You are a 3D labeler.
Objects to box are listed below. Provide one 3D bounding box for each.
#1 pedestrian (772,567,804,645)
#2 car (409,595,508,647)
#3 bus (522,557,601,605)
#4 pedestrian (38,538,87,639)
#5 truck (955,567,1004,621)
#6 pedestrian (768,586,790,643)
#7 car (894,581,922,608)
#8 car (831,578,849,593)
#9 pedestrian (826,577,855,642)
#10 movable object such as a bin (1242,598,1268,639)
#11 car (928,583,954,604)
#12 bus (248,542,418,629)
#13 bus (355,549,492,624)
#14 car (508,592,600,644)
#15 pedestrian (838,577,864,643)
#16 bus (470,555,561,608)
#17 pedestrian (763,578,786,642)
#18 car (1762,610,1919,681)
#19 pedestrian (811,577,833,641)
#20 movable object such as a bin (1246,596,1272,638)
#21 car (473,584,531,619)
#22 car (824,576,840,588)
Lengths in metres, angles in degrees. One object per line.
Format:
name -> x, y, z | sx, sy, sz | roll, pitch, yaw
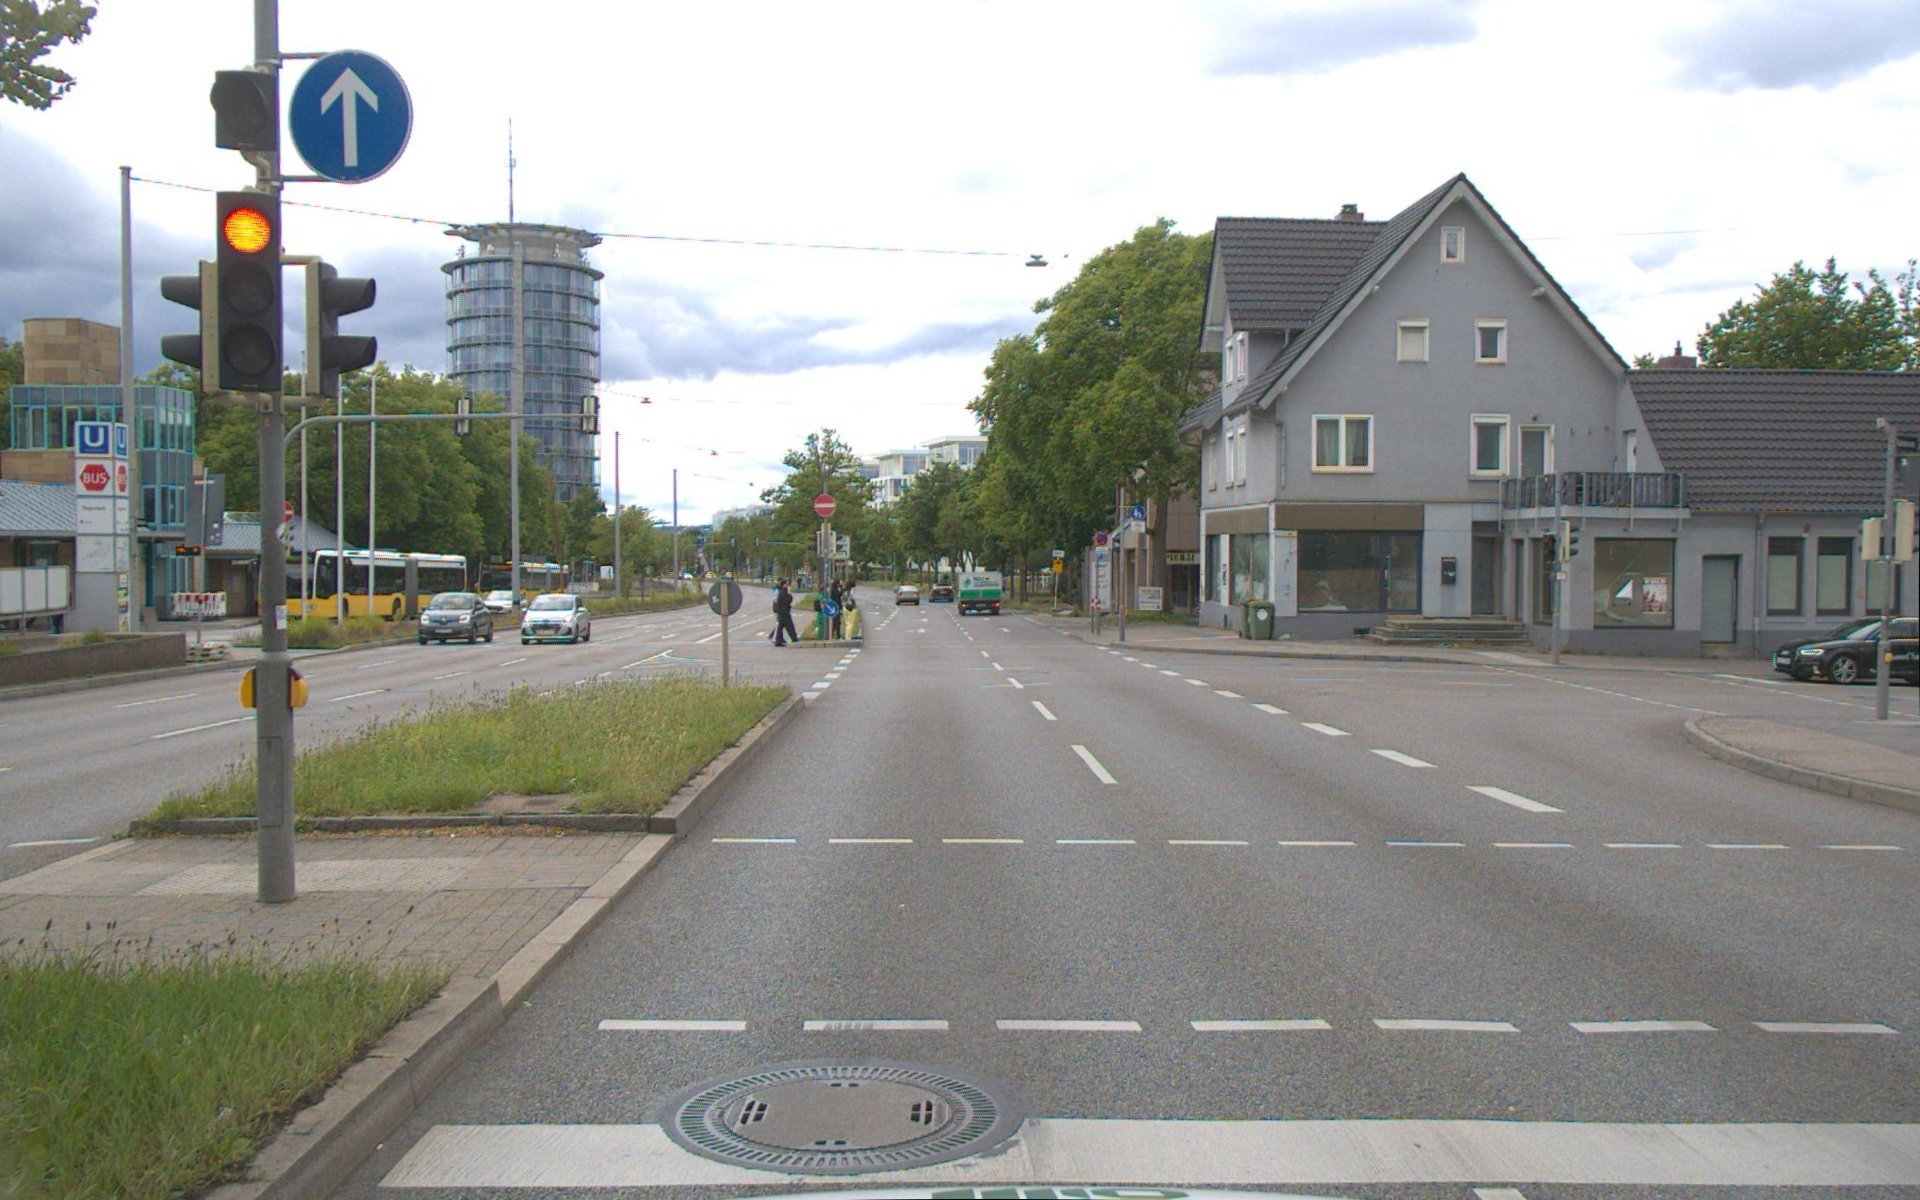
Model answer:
pedestrian -> -4.549, 0.158, 43.788 | 0.814, 2.049, 0.545 | 0, 0, -8
car -> -15.457, 0.610, 51.192 | 1.953, 1.512, 3.998 | -1, 0, -2
bus -> -29.829, -1.393, 124.391 | 2.772, 3.490, 10.737 | 0, 0, 3
pedestrian -> -18.460, -0.230, 34.036 | 0.668, 2.049, 0.645 | 0, 0, -5
truck -> 0.989, -0.370, 86.822 | 2.420, 2.656, 6.548 | 1, 1, 0
pedestrian -> -4.876, 0.394, 44.571 | 0.533, 1.522, 0.485 | 0, 0, -12
car -> -3.740, -0.420, 119.720 | 1.953, 1.862, 3.999 | 1, 0, -1
car -> -12.777, -1.523, 176.008 | 1.954, 1.545, 3.996 | 0, 1, -5
pedestrian -> -3.215, 0.256, 44.471 | 0.731, 1.746, 0.582 | 0, 0, -8
movable object such as a bin -> 7.956, 0.497, 44.615 | 0.603, 1.061, 0.589 | 1, 0, 1
car -> -1.503, -0.484, 128.978 | 1.953, 1.579, 3.999 | 1, 0, -1
bus -> -26.993, -0.610, 71.898 | 2.772, 3.490, 10.737 | 0, 0, 3
bus -> -26.468, -0.659, 82.294 | 2.772, 3.490, 10.737 | 0, 0, 3
car -> -12.395, 0.520, 50.750 | 1.953, 1.512, 3.998 | -1, 0, -2
pedestrian -> -2.897, 0.257, 43.870 | 0.641, 1.746, 0.451 | 0, 0, -8
bus -> -30.392, -1.240, 113.641 | 2.772, 3.490, 10.737 | 0, 0, 3
pedestrian -> -5.075, 0.270, 45.252 | 0.601, 1.746, 0.545 | 0, 0, -8
car -> 19.606, 0.983, 35.409 | 4.006, 1.395, 1.799 | 2, 0, -2
pedestrian -> -3.773, 0.242, 45.169 | 0.572, 1.746, 0.545 | 0, 0, -8
movable object such as a bin -> 7.945, 0.452, 43.961 | 0.592, 1.078, 0.589 | 1, 0, 1
car -> -22.805, 0.062, 82.519 | 1.769, 1.691, 4.000 | 0, 0, 0
car -> -17.893, -2.545, 231.174 | 1.957, 1.579, 3.991 | -1, 0, -10
